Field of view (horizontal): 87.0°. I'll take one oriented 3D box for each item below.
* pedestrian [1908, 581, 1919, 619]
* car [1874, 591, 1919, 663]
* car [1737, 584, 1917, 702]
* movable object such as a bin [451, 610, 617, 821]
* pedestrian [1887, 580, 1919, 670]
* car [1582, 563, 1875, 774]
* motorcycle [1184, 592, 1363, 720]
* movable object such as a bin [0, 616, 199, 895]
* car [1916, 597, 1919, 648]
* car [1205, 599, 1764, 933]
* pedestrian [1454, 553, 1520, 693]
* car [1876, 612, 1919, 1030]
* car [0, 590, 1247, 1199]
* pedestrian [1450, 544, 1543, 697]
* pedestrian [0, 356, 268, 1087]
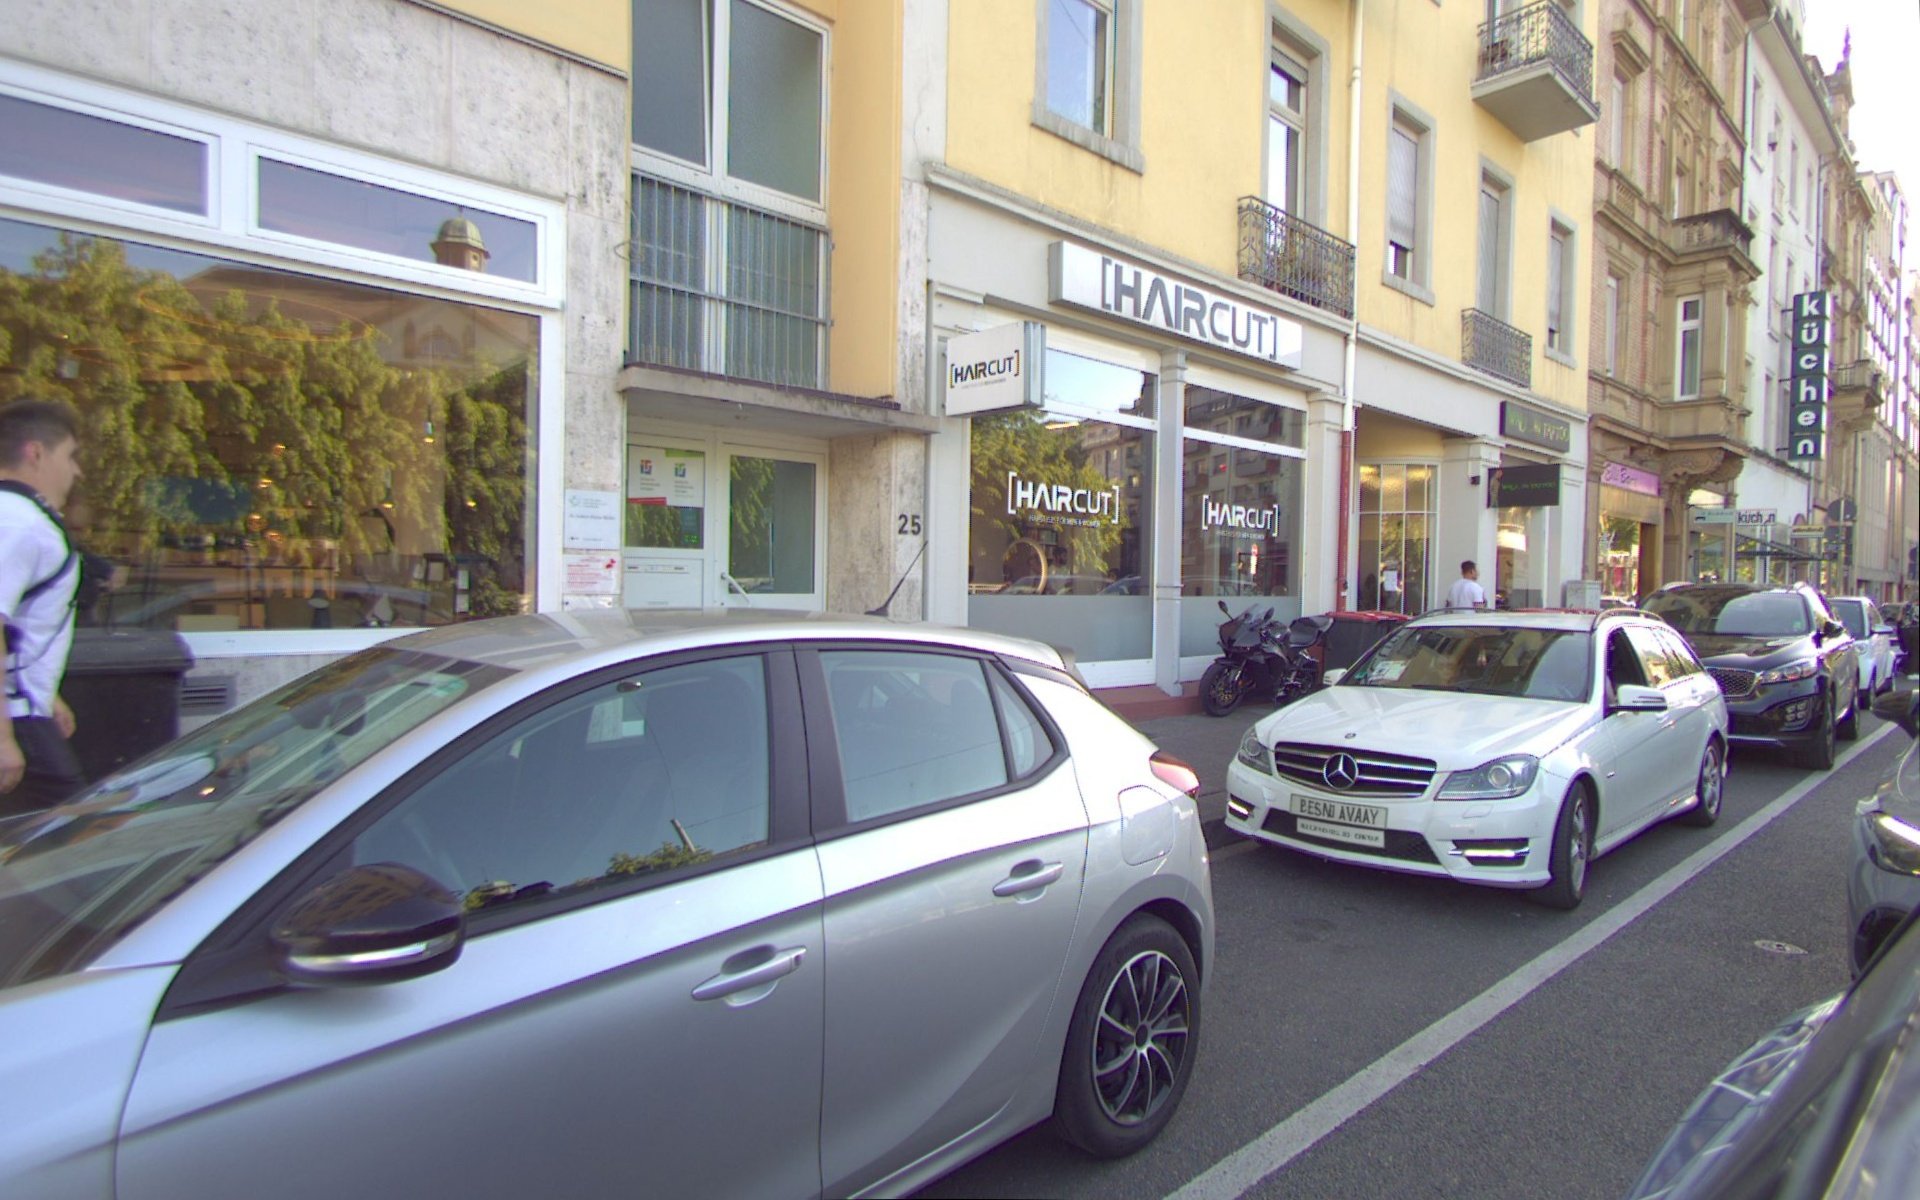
[{"bbox_3d":[44.461,-0.006,46.798,0.809,1.782,0.825,0,0,-42],"label":"pedestrian"},{"bbox_3d":[21.888,0.566,22.812,3.736,1.509,1.691,-1,0,-45],"label":"car"},{"bbox_3d":[12.761,0.547,14.856,2.945,1.542,1.582,-1,0,-41],"label":"car"},{"bbox_3d":[-2.337,0.581,5.540,0.639,1.036,0.737,0,0,-41],"label":"movable object such as a bin"},{"bbox_3d":[18.875,0.484,19.739,0.803,1.741,0.839,0,0,-8],"label":"pedestrian"},{"bbox_3d":[7.999,0.531,10.370,4.338,1.711,1.802,-1,0,-45],"label":"car"},{"bbox_3d":[3.291,0.523,10.507,2.073,1.144,0.735,-1,5,-41],"label":"motorcycle"},{"bbox_3d":[-3.684,0.600,4.326,0.639,1.036,0.737,0,0,-41],"label":"movable object such as a bin"},{"bbox_3d":[26.599,0.574,26.931,3.306,1.334,1.459,-1,0,-42],"label":"car"},{"bbox_3d":[3.523,0.709,6.391,4.301,1.389,1.671,-1,0,-41],"label":"car"},{"bbox_3d":[7.230,0.301,13.877,0.627,1.859,0.760,0,0,41],"label":"pedestrian"},{"bbox_3d":[5.388,0.750,4.379,4.397,1.385,1.767,-1,1,-43],"label":"car"},{"bbox_3d":[-1.016,0.715,2.310,3.625,1.455,1.585,-1,0,-43],"label":"car"},{"bbox_3d":[6.876,0.253,13.002,0.961,1.900,0.532,0,0,18],"label":"pedestrian"},{"bbox_3d":[-2.604,0.297,2.919,0.964,1.845,0.811,0,2,-37],"label":"pedestrian"}]
